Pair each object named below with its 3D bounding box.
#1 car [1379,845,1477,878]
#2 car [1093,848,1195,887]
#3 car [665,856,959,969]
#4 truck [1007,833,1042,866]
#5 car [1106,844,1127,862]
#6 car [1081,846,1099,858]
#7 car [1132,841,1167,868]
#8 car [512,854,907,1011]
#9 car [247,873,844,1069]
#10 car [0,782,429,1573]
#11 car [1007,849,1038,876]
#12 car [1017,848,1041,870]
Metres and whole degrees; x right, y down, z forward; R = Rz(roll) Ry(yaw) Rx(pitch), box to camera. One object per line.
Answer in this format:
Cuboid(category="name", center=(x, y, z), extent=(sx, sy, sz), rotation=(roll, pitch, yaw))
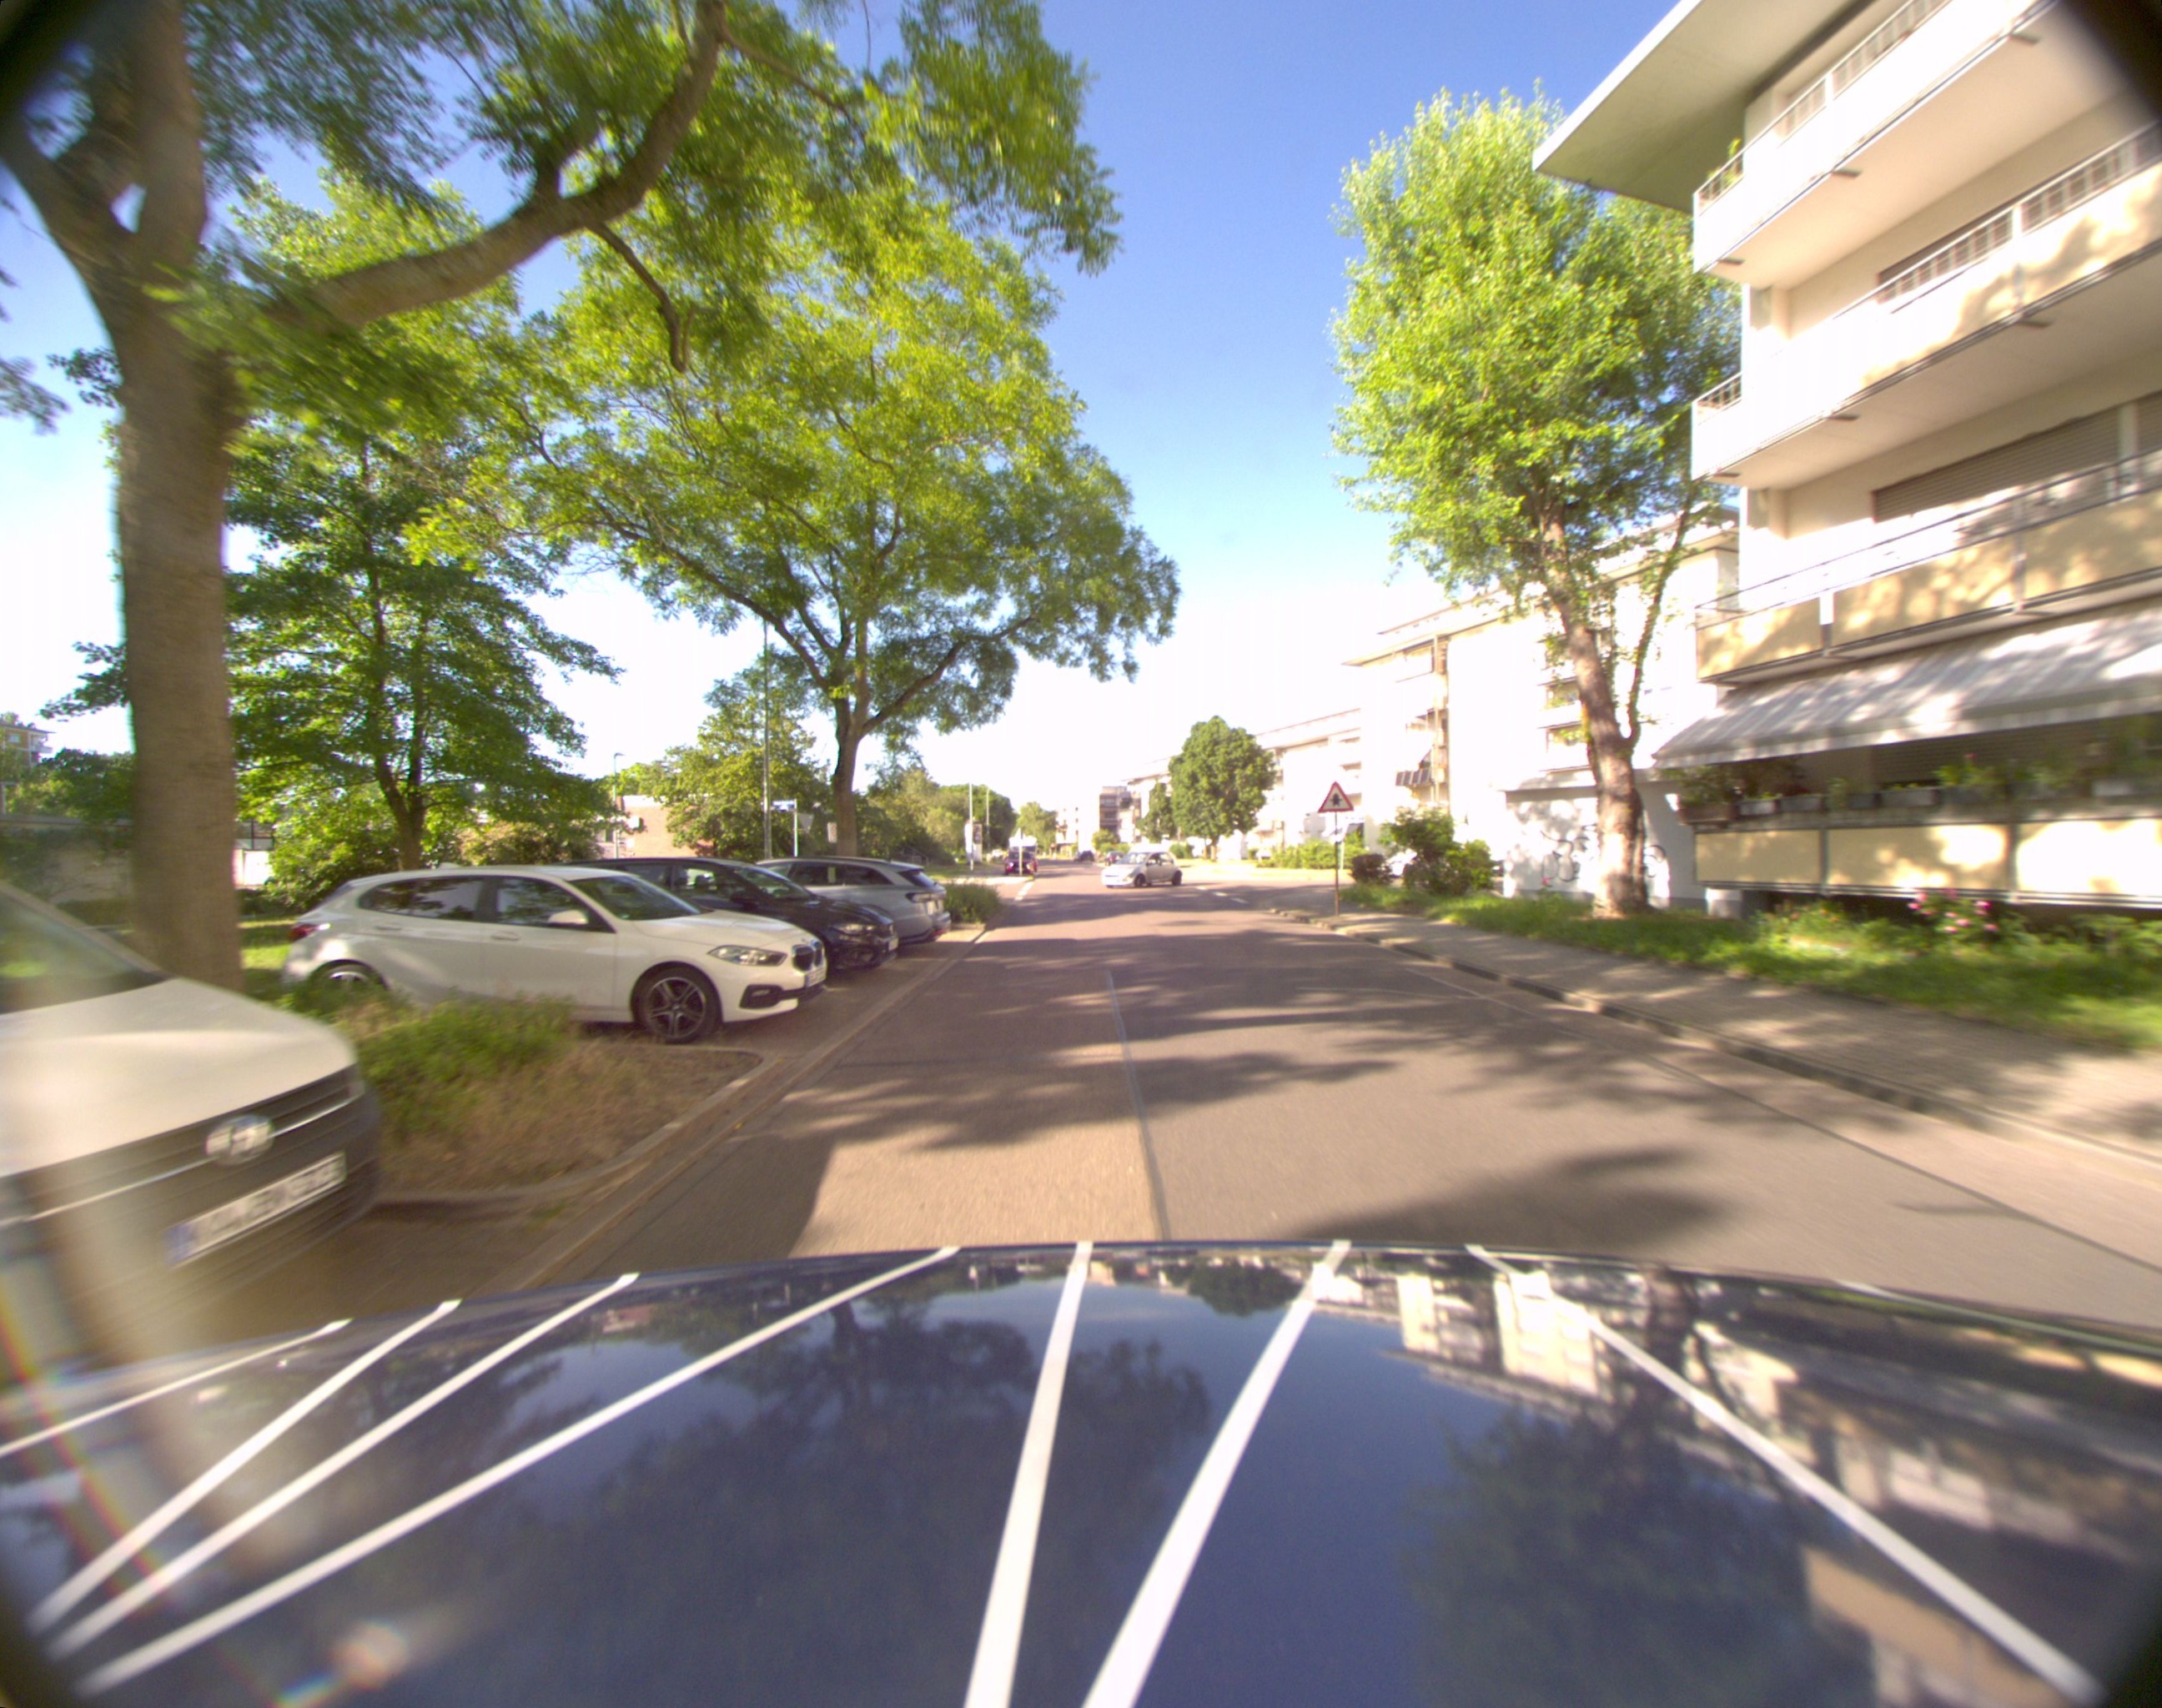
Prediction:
Cuboid(category="car", center=(15.650, 0.330, 34.396), extent=(3.725, 1.417, 1.534), rotation=(-1, 1, 8))
Cuboid(category="car", center=(2.604, 0.542, 30.951), extent=(4.179, 1.417, 1.593), rotation=(1, 2, -40))
Cuboid(category="car", center=(-4.124, 0.873, 12.120), extent=(4.052, 1.544, 1.745), rotation=(1, 1, 0))
Cuboid(category="truck", center=(-4.989, -0.424, 68.613), extent=(2.763, 2.785, 8.263), rotation=(1, 1, -2))
Cuboid(category="car", center=(3.454, -0.090, 73.848), extent=(1.694, 1.661, 4.050), rotation=(-1, 1, -2))
Cuboid(category="car", center=(1.207, -0.243, 102.668), extent=(1.795, 1.535, 4.049), rotation=(-4, 1, -7))
Cuboid(category="car", center=(4.882, 0.012, 54.969), extent=(2.007, 1.837, 4.615), rotation=(-3, 1, -1))
Cuboid(category="car", center=(-4.446, 0.903, 9.585), extent=(4.052, 1.649, 1.745), rotation=(-2, 1, -1))
Cuboid(category="car", center=(-4.504, 0.958, 6.892), extent=(4.149, 1.400, 1.745), rotation=(1, 1, -1))
Cuboid(category="car", center=(-4.849, 0.769, 2.097), extent=(4.445, 1.911, 1.744), rotation=(0, 1, -3))
Cuboid(category="car", center=(-3.707, 0.489, 48.691), extent=(1.773, 1.606, 4.050), rotation=(1, 1, -2))
Cuboid(category="car", center=(-3.934, 0.345, 58.303), extent=(1.694, 1.618, 4.050), rotation=(1, 1, -2))
